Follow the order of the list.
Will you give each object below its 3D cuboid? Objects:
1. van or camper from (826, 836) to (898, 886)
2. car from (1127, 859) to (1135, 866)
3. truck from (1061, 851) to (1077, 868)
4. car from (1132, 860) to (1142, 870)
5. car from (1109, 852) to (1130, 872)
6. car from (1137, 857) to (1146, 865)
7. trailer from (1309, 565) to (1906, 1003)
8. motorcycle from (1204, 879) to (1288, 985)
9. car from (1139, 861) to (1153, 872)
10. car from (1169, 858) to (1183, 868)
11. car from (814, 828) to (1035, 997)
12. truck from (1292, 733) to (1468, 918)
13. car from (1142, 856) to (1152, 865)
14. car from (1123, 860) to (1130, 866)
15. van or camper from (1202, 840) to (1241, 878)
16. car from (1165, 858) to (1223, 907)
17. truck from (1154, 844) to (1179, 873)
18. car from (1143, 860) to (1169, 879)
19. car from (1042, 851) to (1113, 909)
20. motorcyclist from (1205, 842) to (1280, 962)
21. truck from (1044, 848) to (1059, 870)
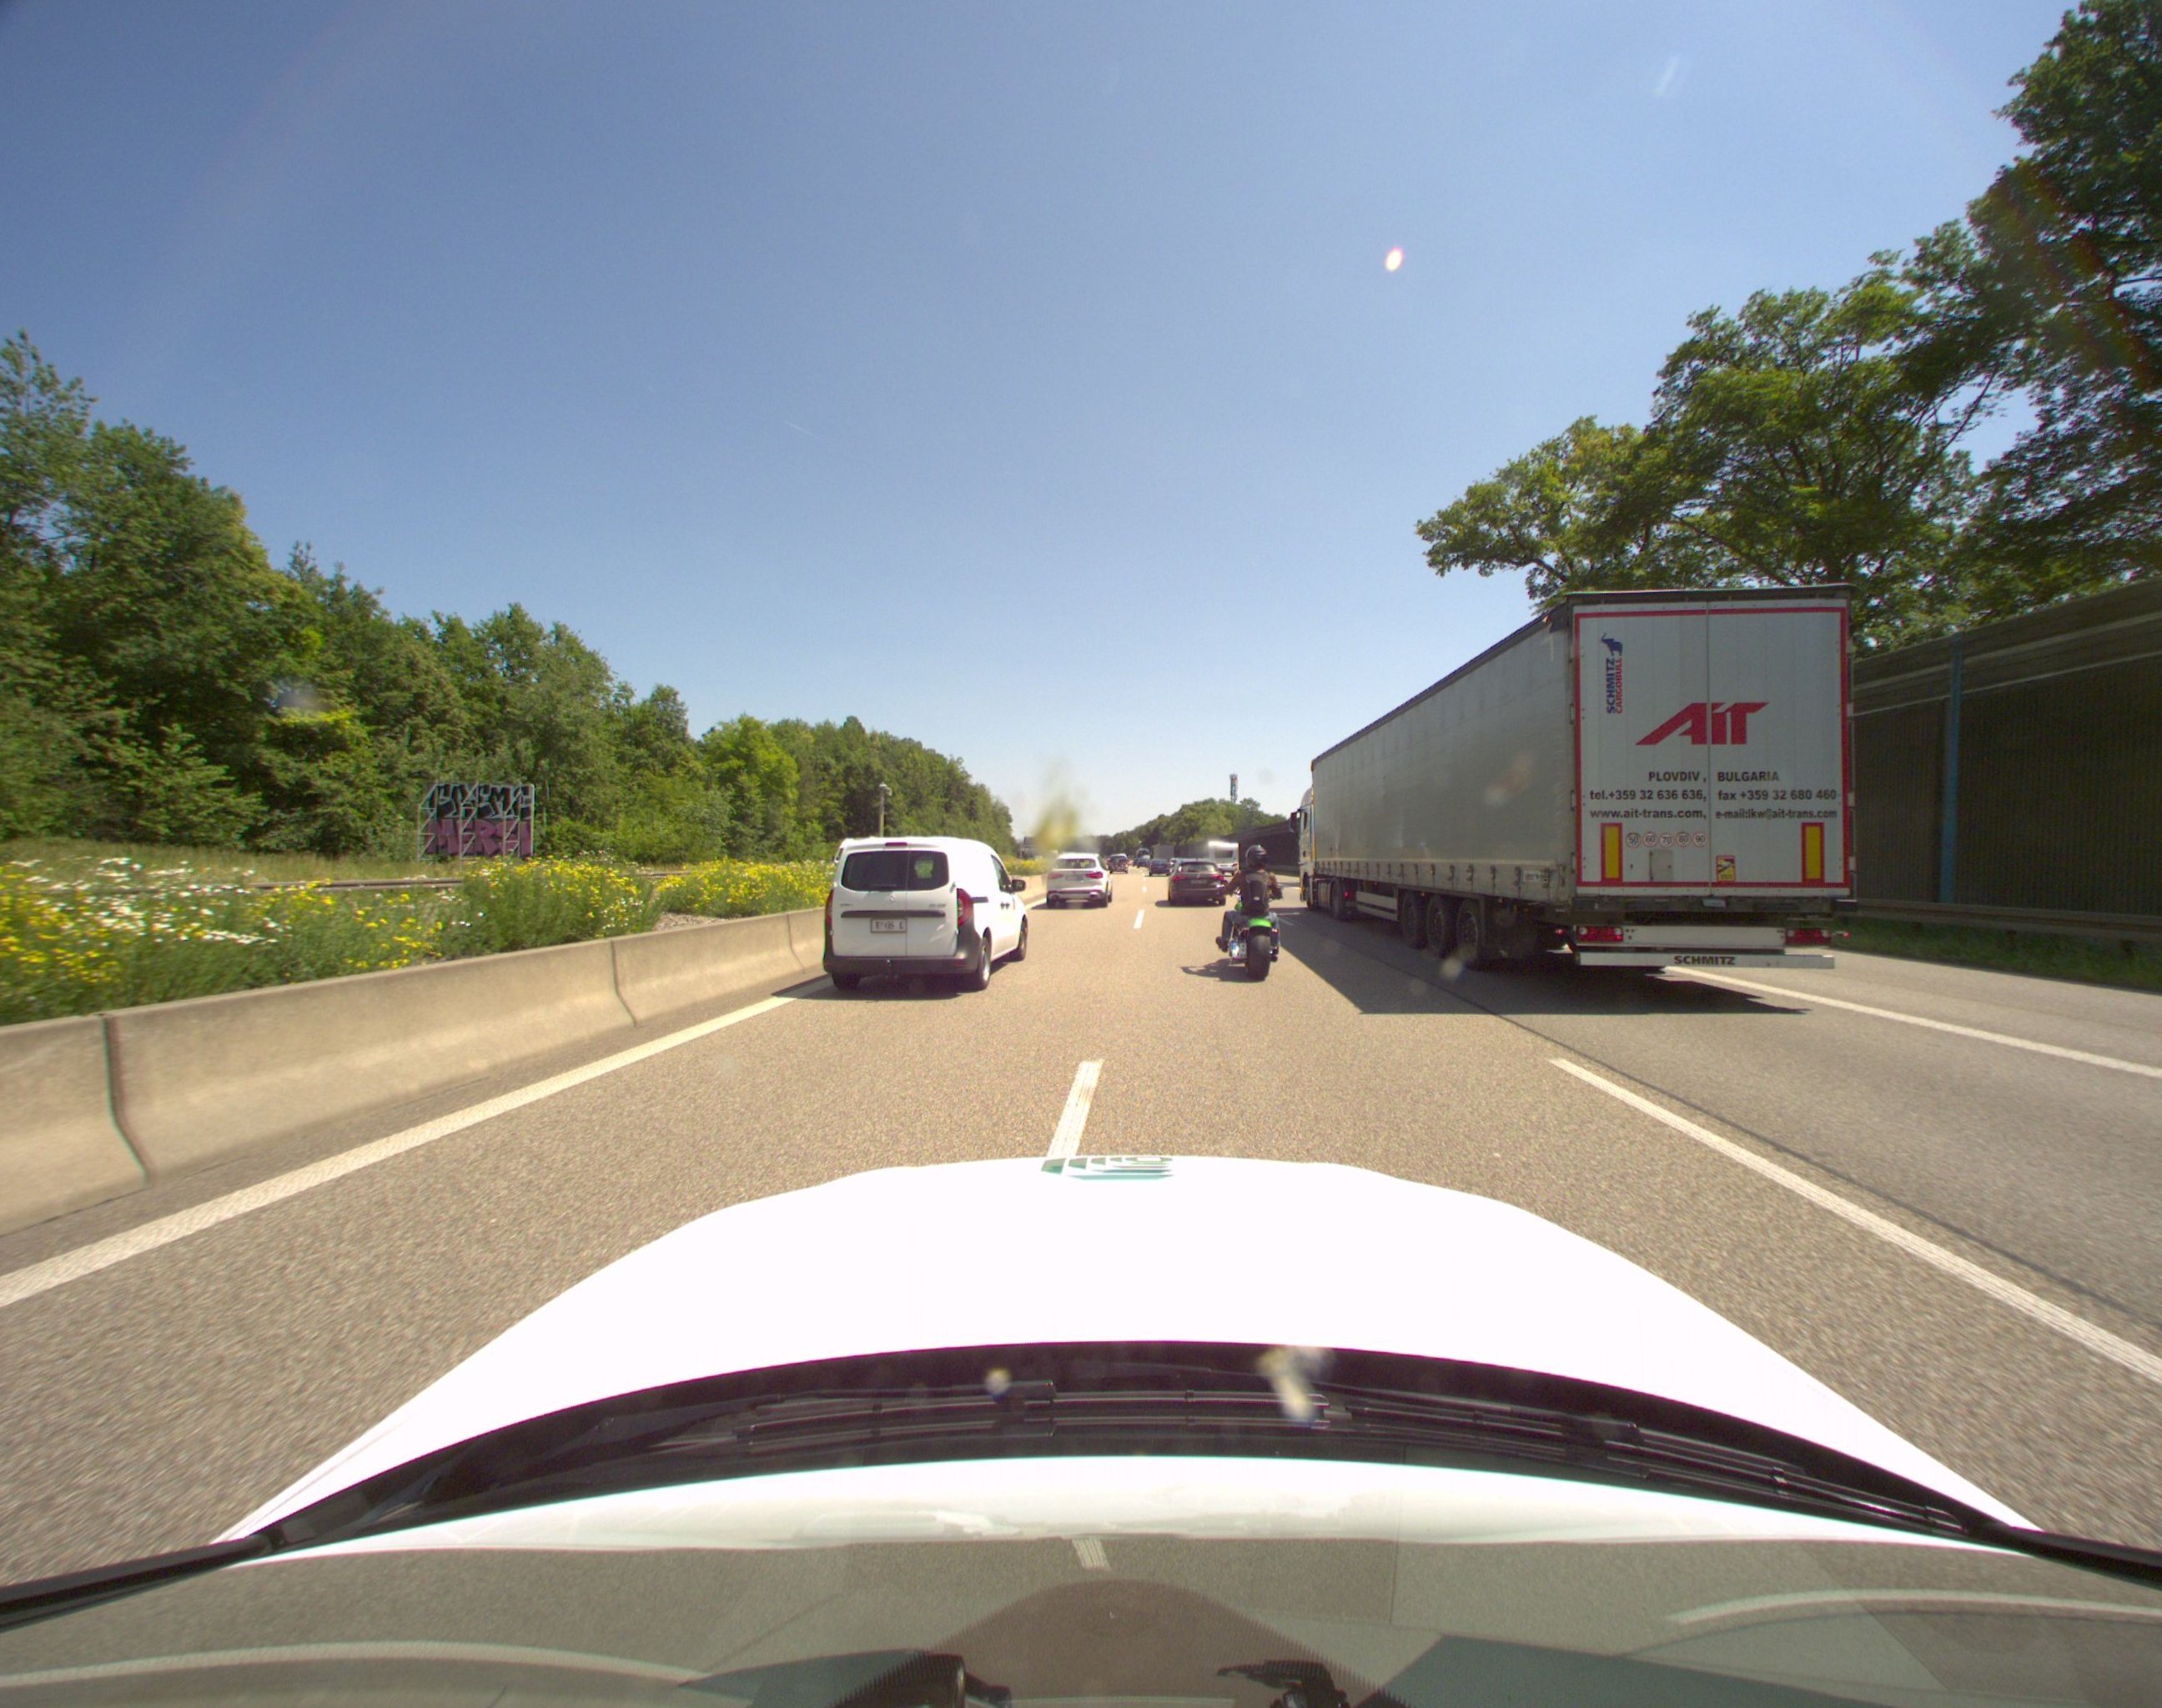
[{"bbox_3d":[-12.613,0.402,47.451,2.075,2.701,6.160,0,0,5],"label":"van or camper"},{"bbox_3d":[11.388,1.969,186.268,1.826,1.496,3.744,0,-2,1],"label":"car"},{"bbox_3d":[-1.652,0.766,113.462,1.829,2.226,6.201,0,0,3],"label":"truck"},{"bbox_3d":[11.344,2.244,164.033,1.904,2.014,3.692,0,-2,2],"label":"car"},{"bbox_3d":[3.764,0.832,78.822,1.890,1.874,4.418,0,-2,5],"label":"car"},{"bbox_3d":[14.787,1.686,197.866,2.099,1.876,4.003,0,-2,3],"label":"car"},{"bbox_3d":[6.786,-0.594,14.477,2.871,4.038,13.815,0,0,6],"label":"trailer"},{"bbox_3d":[2.239,0.948,10.929,0.958,1.148,2.821,0,0,12],"label":"motorcycle"},{"bbox_3d":[10.692,2.091,134.657,1.987,1.640,3.999,0,-2,0],"label":"car"},{"bbox_3d":[14.390,1.379,123.486,1.985,1.574,4.004,0,-2,4],"label":"car"},{"bbox_3d":[-1.836,0.660,11.160,1.757,1.813,4.680,-1,-1,5],"label":"car"},{"bbox_3d":[7.483,-0.612,21.316,2.872,4.146,5.995,0,-1,5],"label":"truck"},{"bbox_3d":[15.633,1.547,192.578,2.099,1.876,4.002,0,-2,2],"label":"car"},{"bbox_3d":[11.984,2.418,216.175,1.825,1.496,3.744,0,-2,1],"label":"car"},{"bbox_3d":[11.210,0.470,65.583,2.671,2.813,6.813,-1,-2,6],"label":"van or camper"},{"bbox_3d":[3.590,0.895,26.382,1.654,1.453,3.873,0,-2,4],"label":"car"},{"bbox_3d":[15.012,0.836,143.455,3.789,4.960,8.952,0,-2,1],"label":"truck"},{"bbox_3d":[6.111,1.277,66.153,1.984,1.430,3.853,0,-2,5],"label":"car"},{"bbox_3d":[-0.003,0.799,26.599,1.855,1.694,4.963,-1,-1,5],"label":"car"},{"bbox_3d":[2.212,0.618,11.036,0.893,1.475,1.878,-1,-2,13],"label":"motorcyclist"},{"bbox_3d":[-7.452,1.362,208.823,3.469,5.277,10.014,0,-2,0],"label":"truck"}]
